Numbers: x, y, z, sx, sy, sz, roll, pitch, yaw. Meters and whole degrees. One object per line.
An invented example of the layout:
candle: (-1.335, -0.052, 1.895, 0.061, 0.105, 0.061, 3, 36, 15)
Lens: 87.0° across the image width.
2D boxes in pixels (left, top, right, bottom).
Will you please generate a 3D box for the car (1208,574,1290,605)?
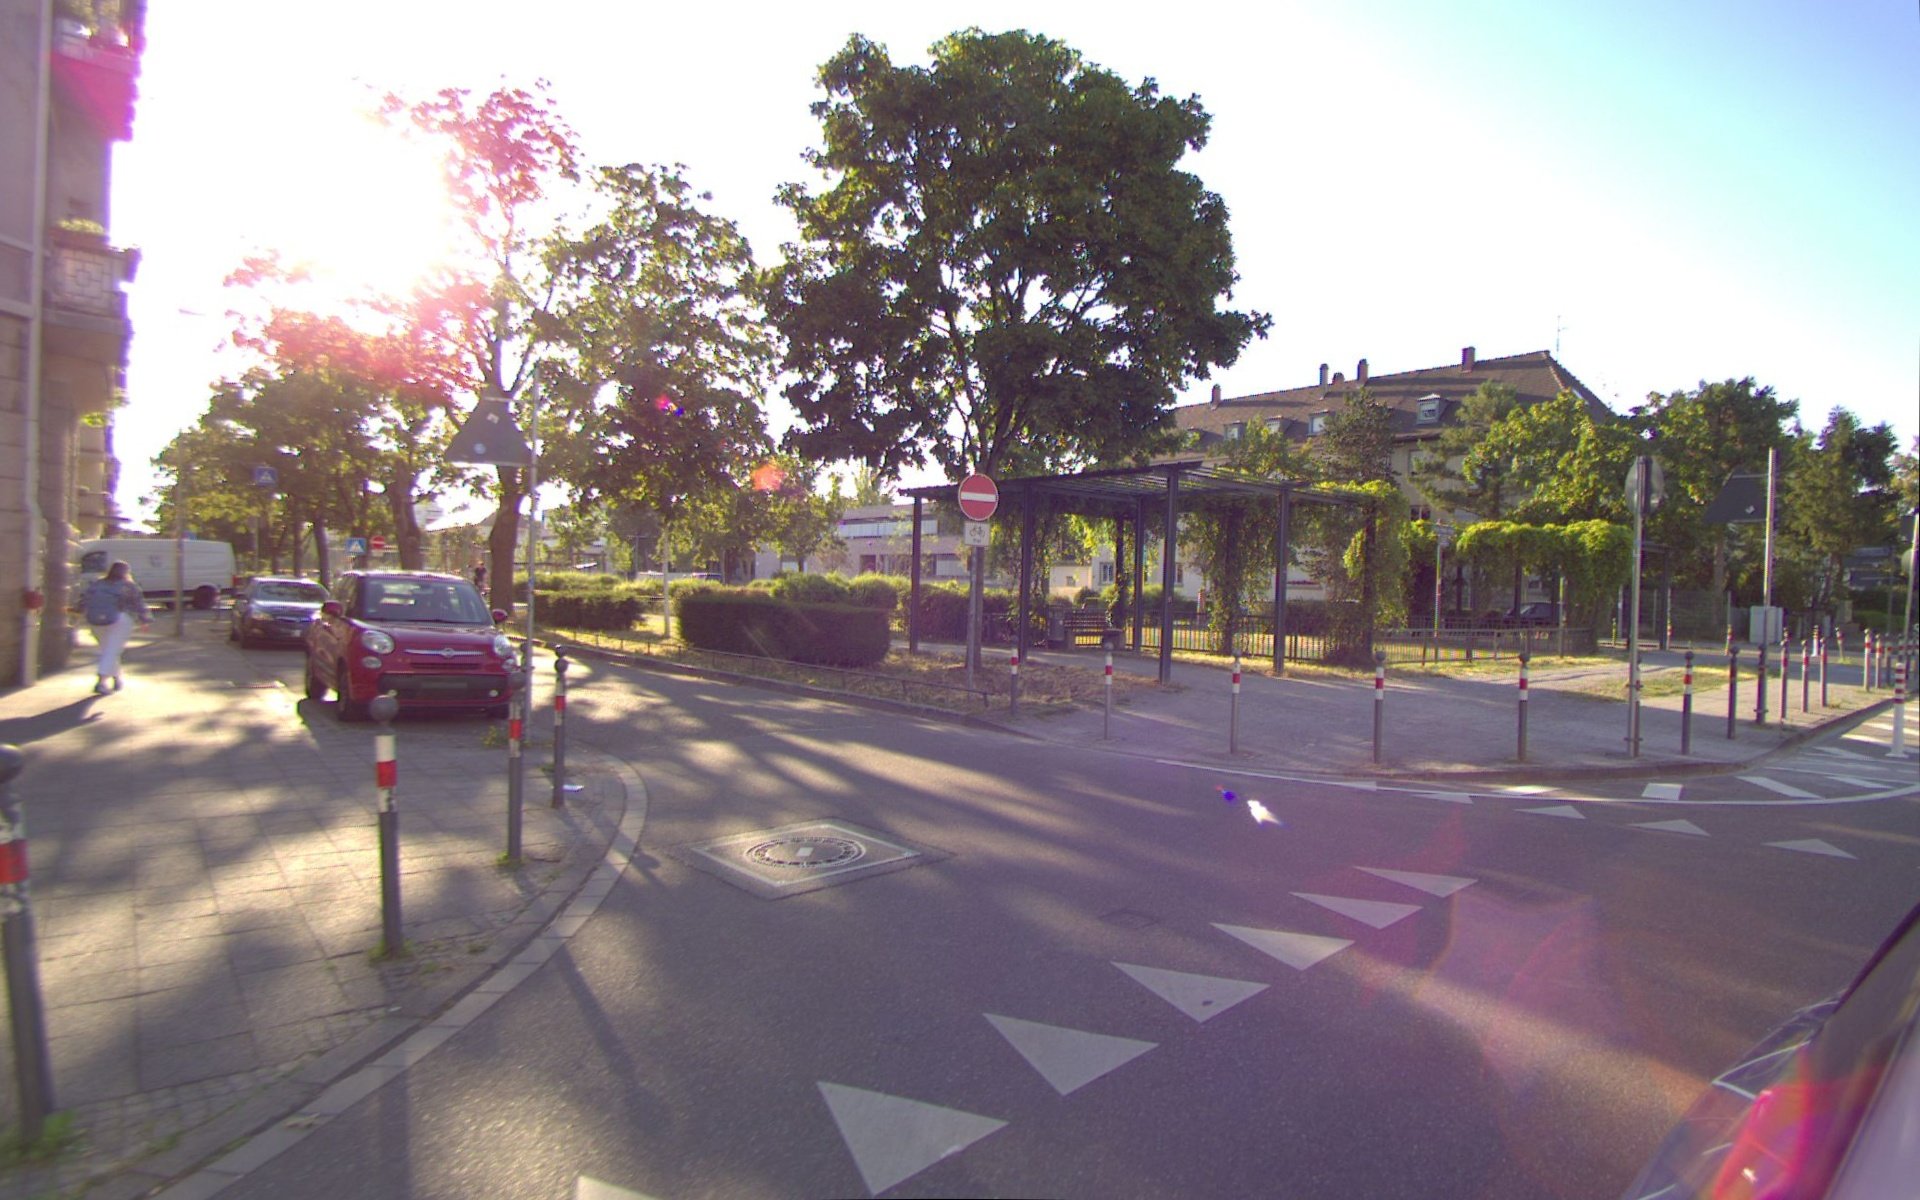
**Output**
car: (14.843, -0.543, 52.097, 1.705, 1.537, 3.755, 1, 1, -41)

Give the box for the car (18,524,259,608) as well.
car: (-29.791, -1.180, 37.098, 2.290, 2.779, 6.643, 1, 1, 21)

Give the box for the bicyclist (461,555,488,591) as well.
bicyclist: (-22.605, -1.251, 47.114, 0.862, 1.668, 0.848, 1, 0, 43)

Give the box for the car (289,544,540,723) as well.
car: (-6.669, 0.319, 12.154, 1.779, 1.763, 4.083, 4, -1, -40)

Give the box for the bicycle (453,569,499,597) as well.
bicycle: (-22.472, -0.811, 46.977, 3.099, 1.237, 0.874, 2, 1, 44)

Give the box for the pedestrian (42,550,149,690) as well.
pedestrian: (-10.052, 0.234, 11.799, 0.727, 1.565, 0.822, 3, -2, -30)

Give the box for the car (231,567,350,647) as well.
car: (-14.612, 0.114, 21.988, 1.779, 1.552, 4.085, 2, 0, -38)

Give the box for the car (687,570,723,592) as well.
car: (-24.874, -1.859, 98.657, 1.964, 2.150, 3.996, 1, 1, -39)

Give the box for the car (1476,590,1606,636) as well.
car: (23.565, 0.525, 41.139, 1.791, 1.662, 4.209, 4, -2, -42)
